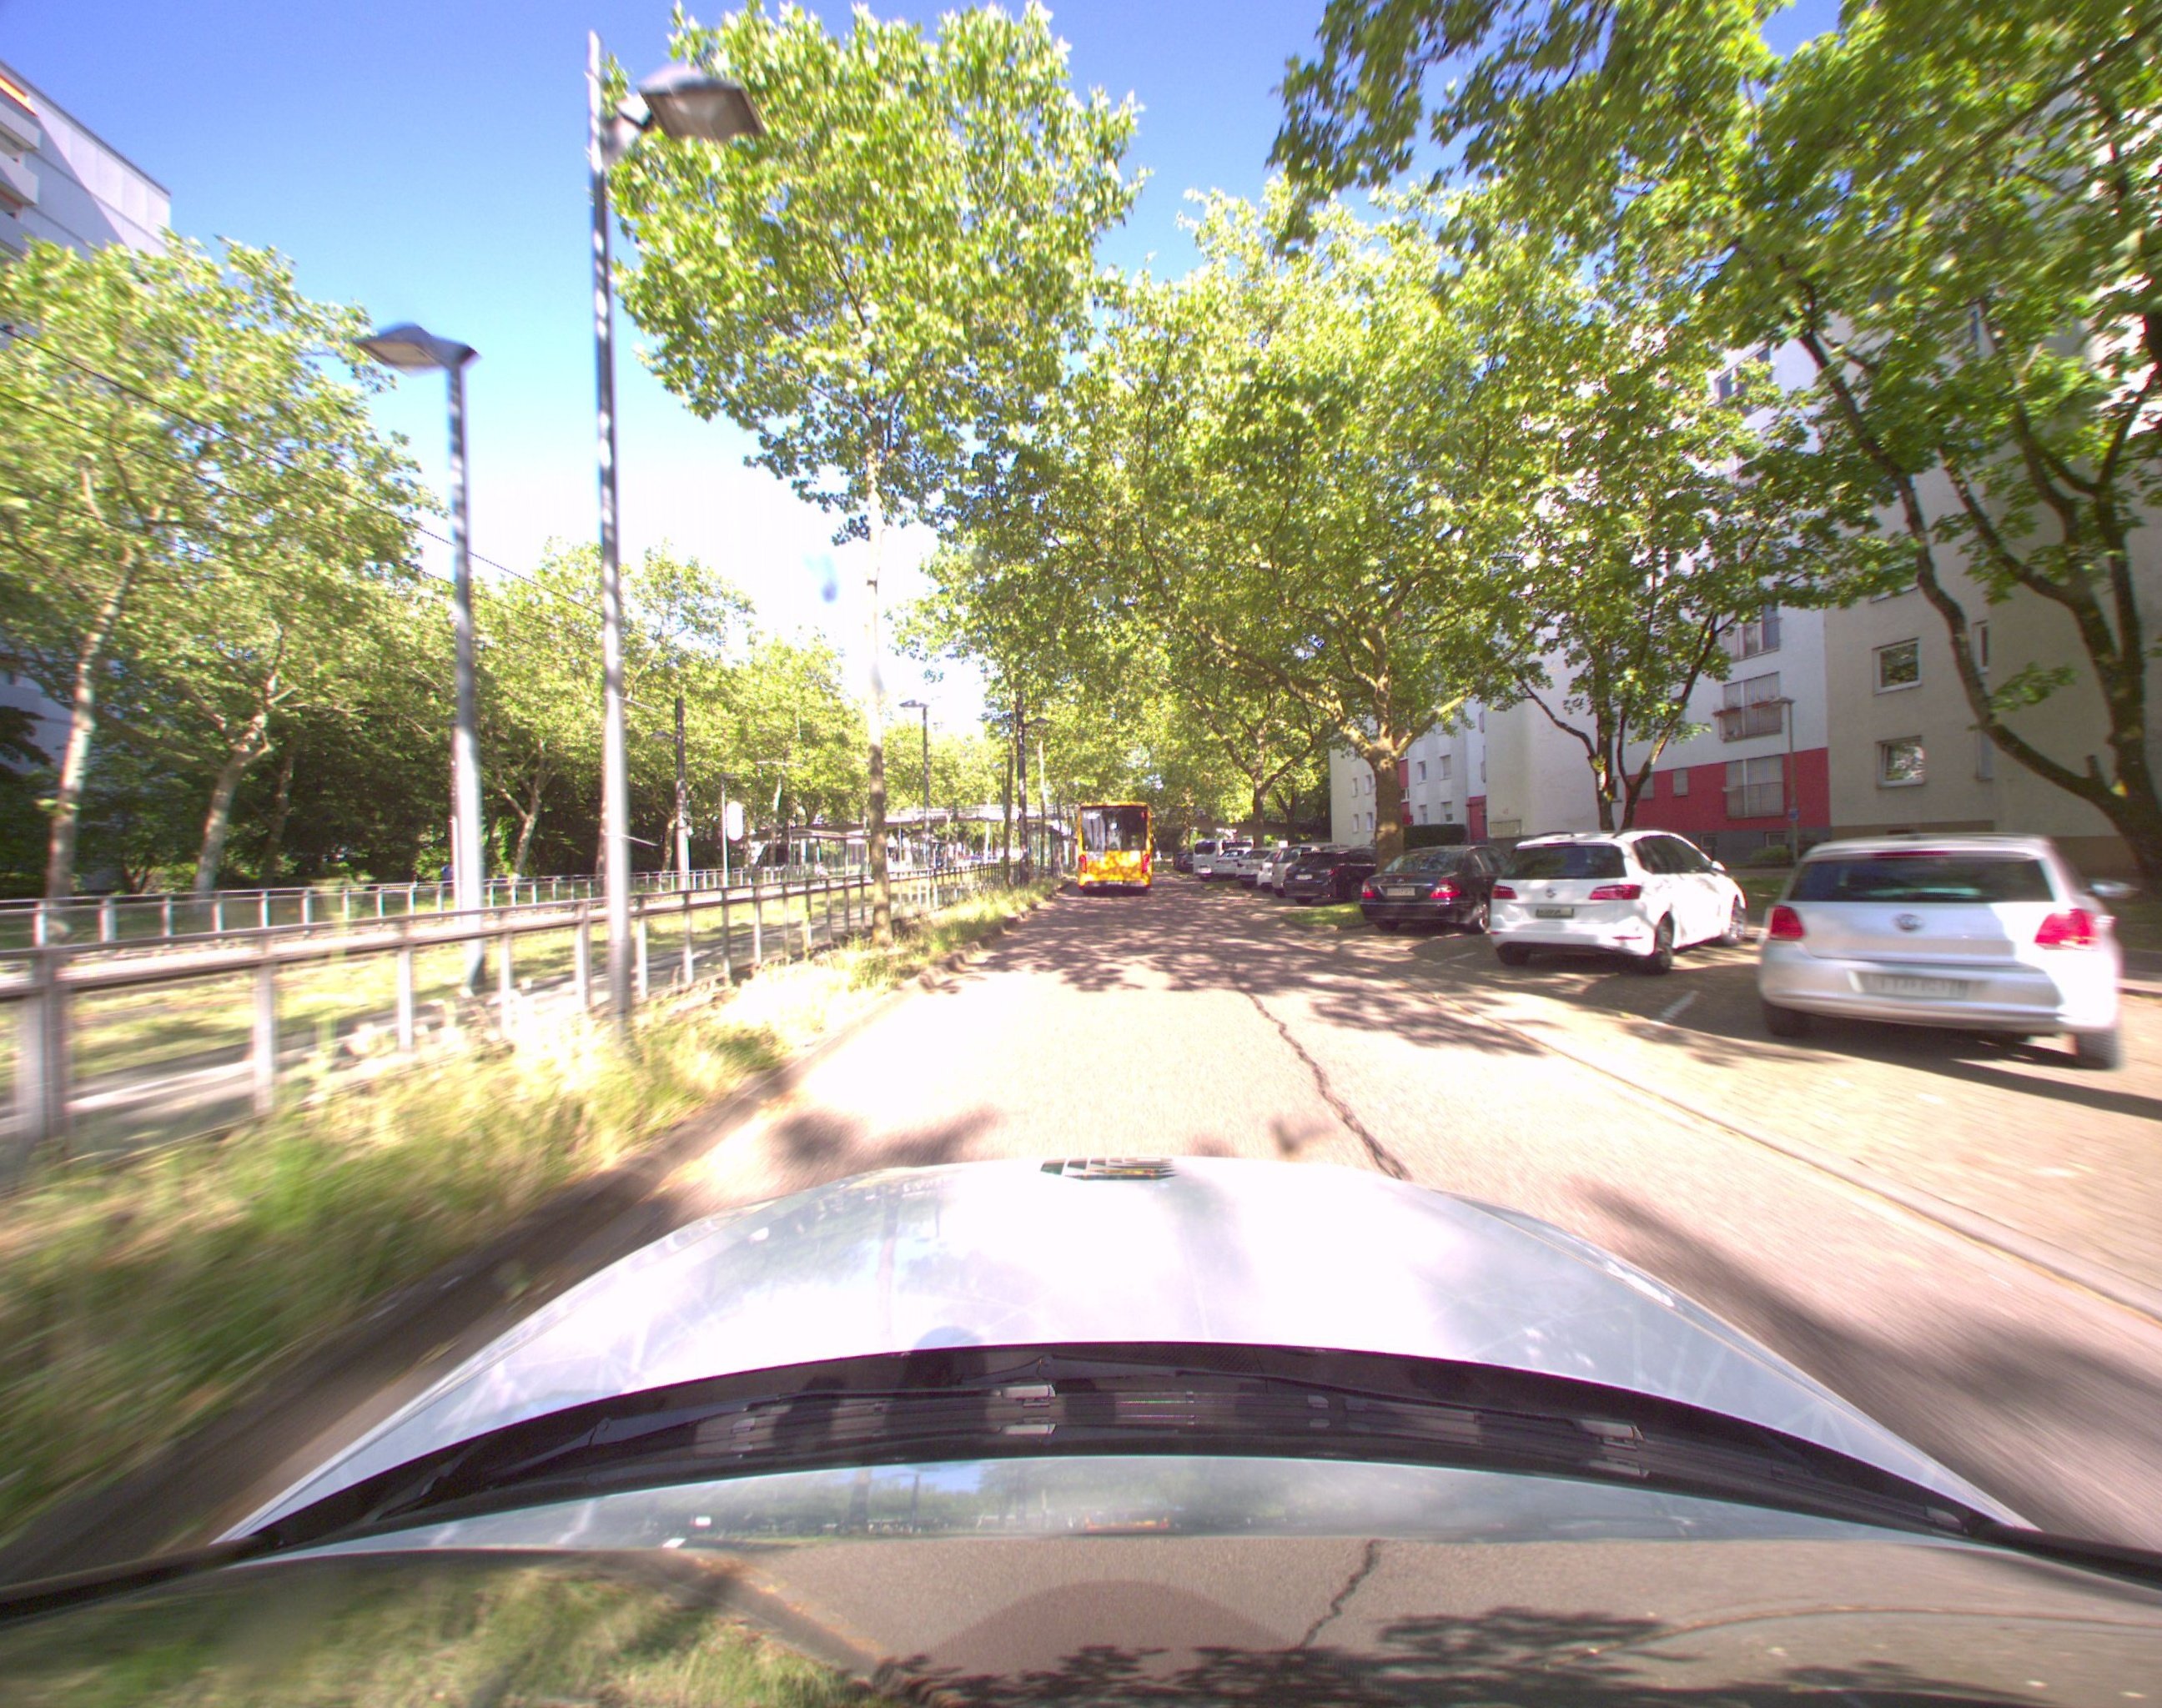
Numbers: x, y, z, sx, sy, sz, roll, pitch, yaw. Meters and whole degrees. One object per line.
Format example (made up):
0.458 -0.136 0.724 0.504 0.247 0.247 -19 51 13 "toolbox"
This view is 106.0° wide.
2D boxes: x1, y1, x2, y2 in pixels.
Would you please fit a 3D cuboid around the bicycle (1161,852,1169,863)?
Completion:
9.166 0.372 89.133 0.588 1.182 1.801 -5 1 1 "bicycle"

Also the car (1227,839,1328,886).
7.582 0.291 31.230 1.777 1.510 4.238 -4 0 44 "car"

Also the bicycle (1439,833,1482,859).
18.702 -0.407 40.136 1.790 1.129 0.549 -5 0 -3 "bicycle"

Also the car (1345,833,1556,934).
6.734 0.440 14.591 4.617 1.422 1.778 -3 0 -43 "car"

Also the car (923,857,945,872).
-16.551 1.207 91.805 1.789 1.566 4.286 -2 0 -1 "car"

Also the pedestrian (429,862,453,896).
-31.360 1.218 39.915 0.645 1.661 0.651 -1 0 3 "pedestrian"

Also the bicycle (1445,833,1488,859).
18.710 -0.399 39.544 1.790 1.129 0.499 -5 0 -3 "bicycle"

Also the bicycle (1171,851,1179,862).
10.283 0.268 88.899 0.588 1.182 1.801 -5 1 1 "bicycle"

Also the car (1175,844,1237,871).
8.256 0.225 53.639 4.022 1.468 1.761 -4 0 -41 "car"

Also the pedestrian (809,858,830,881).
-13.386 0.784 41.698 0.763 1.183 0.763 -1 0 2 "pedestrian"

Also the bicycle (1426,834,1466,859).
18.753 -0.397 41.859 1.790 1.129 0.499 -5 0 -3 "bicycle"

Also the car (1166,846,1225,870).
8.436 0.254 59.806 4.278 1.461 1.779 -4 0 -38 "car"

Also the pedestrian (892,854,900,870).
-19.449 0.855 85.806 0.646 1.661 0.649 -2 0 -2 "pedestrian"

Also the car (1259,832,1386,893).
7.497 0.241 25.143 4.022 1.589 1.778 -4 0 -41 "car"

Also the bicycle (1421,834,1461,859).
18.728 -0.392 42.412 1.790 1.129 0.499 -5 0 -3 "bicycle"

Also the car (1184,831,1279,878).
7.539 0.000 40.571 4.613 2.052 1.994 -4 0 -38 "car"

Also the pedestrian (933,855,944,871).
-11.703 0.724 67.003 0.775 1.238 0.722 -1 0 0 "pedestrian"

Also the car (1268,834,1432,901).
7.218 0.333 21.670 4.430 1.428 1.929 -4 0 -38 "car"

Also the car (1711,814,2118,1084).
6.720 0.492 6.496 4.021 1.444 1.779 -3 0 -39 "car"

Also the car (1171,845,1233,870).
8.444 0.212 56.713 4.278 1.461 1.779 -4 0 -38 "car"

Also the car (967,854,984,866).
-15.214 0.839 117.568 1.787 1.580 4.290 -2 0 2 "car"

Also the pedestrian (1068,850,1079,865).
-0.596 0.303 67.547 0.851 1.243 0.851 0 0 4 "pedestrian"

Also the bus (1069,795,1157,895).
1.210 -0.307 33.431 2.889 3.266 12.221 -1 0 1 "bus"

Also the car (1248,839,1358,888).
7.764 0.316 28.288 4.023 1.419 1.809 -4 0 -43 "car"

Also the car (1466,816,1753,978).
6.700 0.397 10.182 4.020 1.576 1.779 -3 0 -39 "car"

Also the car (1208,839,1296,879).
7.934 0.202 37.663 4.080 1.580 1.811 -4 0 -41 "car"

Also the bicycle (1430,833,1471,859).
18.716 -0.410 41.271 1.790 1.129 0.499 -5 0 -3 "bicycle"
